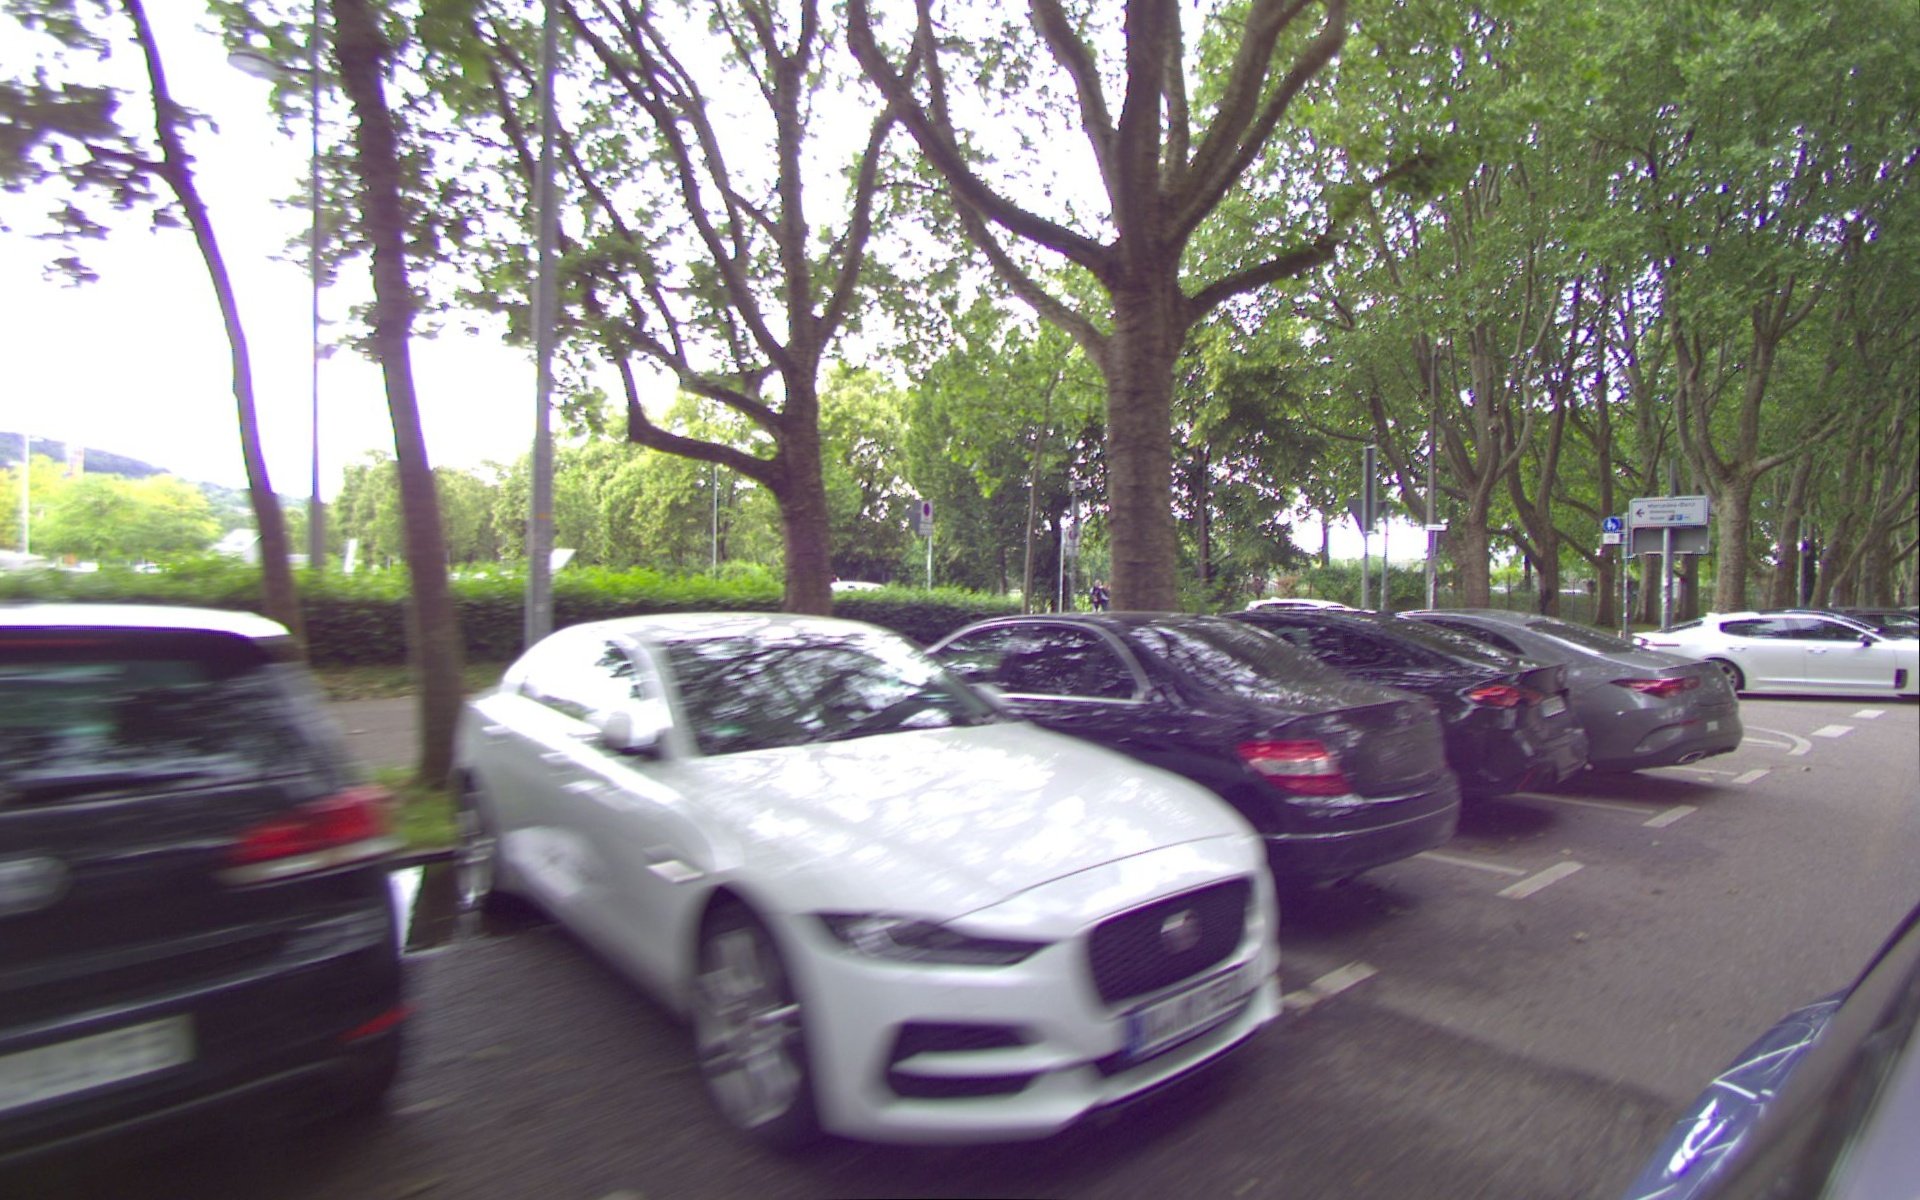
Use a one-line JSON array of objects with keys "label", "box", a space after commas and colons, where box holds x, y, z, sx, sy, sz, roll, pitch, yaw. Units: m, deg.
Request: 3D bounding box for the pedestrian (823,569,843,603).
[{"label": "pedestrian", "box": [-6.312, -0.693, 50.275, 0.685, 1.664, 0.725, 0, 0, -35]}]

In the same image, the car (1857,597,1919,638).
[{"label": "car", "box": [37.305, 0.639, 38.290, 1.962, 1.542, 4.677, 0, -1, -36]}]

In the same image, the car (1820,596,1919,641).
[{"label": "car", "box": [33.575, 0.643, 35.604, 1.962, 1.542, 4.678, 0, -1, -35]}]

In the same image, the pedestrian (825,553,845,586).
[{"label": "pedestrian", "box": [-6.337, -1.536, 51.332, 0.711, 1.664, 0.698, 1, 2, -35]}]

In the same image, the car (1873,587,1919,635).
[{"label": "car", "box": [39.328, 0.418, 39.841, 1.962, 1.927, 4.677, 0, -1, -36]}]

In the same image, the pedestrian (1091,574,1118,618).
[{"label": "pedestrian", "box": [5.302, -0.153, 37.069, 0.685, 1.587, 0.725, 0, 0, -35]}]

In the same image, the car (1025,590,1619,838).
[{"label": "car", "box": [2.642, 0.660, 7.972, 4.018, 1.435, 1.881, 0, 0, 44]}]

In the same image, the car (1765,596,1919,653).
[{"label": "car", "box": [25.892, 0.681, 28.583, 1.966, 1.542, 4.668, 0, -1, -42]}]

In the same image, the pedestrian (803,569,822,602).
[{"label": "pedestrian", "box": [-7.352, -0.733, 50.569, 0.711, 1.664, 0.698, 0, 0, -35]}]

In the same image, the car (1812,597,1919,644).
[{"label": "car", "box": [31.950, 0.687, 34.069, 1.868, 1.542, 4.679, 0, 0, -35]}]

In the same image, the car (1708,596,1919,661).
[{"label": "car", "box": [22.089, 0.695, 25.563, 1.966, 1.525, 4.824, 0, -1, -42]}]

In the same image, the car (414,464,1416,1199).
[{"label": "car", "box": [-0.728, 0.555, 4.381, 2.018, 1.644, 4.533, 1, 0, -40]}]

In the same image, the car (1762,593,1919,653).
[{"label": "car", "box": [24.128, 0.562, 26.732, 1.966, 1.496, 4.377, -1, 1, -42]}]

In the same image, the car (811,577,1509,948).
[{"label": "car", "box": [0.857, 0.628, 5.947, 1.688, 1.435, 3.838, 1, 0, -40]}]

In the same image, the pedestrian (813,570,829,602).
[{"label": "pedestrian", "box": [-7.150, -0.721, 52.131, 0.686, 1.664, 0.724, 0, 0, 5]}]

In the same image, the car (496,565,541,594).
[{"label": "car", "box": [-32.374, -1.499, 74.193, 1.965, 2.039, 3.995, -1, 1, -40]}]

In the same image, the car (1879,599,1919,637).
[{"label": "car", "box": [42.728, 0.745, 43.326, 1.962, 1.632, 4.677, 0, -1, -36]}]

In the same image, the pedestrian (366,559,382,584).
[{"label": "pedestrian", "box": [-38.831, -1.867, 67.068, 0.722, 1.664, 0.688, 0, 0, 42]}]

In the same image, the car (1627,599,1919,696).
[{"label": "car", "box": [13.748, 0.730, 16.474, 4.638, 1.401, 1.979, -1, 0, 30]}]

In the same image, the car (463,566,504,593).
[{"label": "car", "box": [-37.092, -1.546, 78.749, 1.965, 2.039, 3.995, -1, 1, -40]}]

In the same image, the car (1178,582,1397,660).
[{"label": "car", "box": [7.112, 0.386, 22.288, 1.754, 1.480, 4.283, 0, 2, -42]}]

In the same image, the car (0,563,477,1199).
[{"label": "car", "box": [-3.108, 0.670, 3.395, 1.752, 1.466, 4.023, 1, -1, -40]}]

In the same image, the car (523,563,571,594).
[{"label": "car", "box": [-28.517, -1.452, 69.822, 1.965, 2.039, 3.995, -1, 1, -40]}]

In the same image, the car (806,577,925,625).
[{"label": "car", "box": [-3.255, -0.003, 34.211, 1.754, 1.480, 4.283, 0, 2, -42]}]

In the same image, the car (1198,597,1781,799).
[{"label": "car", "box": [4.609, 0.693, 9.535, 1.687, 1.435, 4.599, 1, 0, -37]}]

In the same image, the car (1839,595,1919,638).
[{"label": "car", "box": [35.414, 0.601, 36.924, 1.962, 1.542, 4.677, 0, -1, -36]}]

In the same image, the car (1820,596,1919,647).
[{"label": "car", "box": [30.285, 0.670, 32.188, 1.788, 1.544, 4.106, 0, 1, -31]}]
